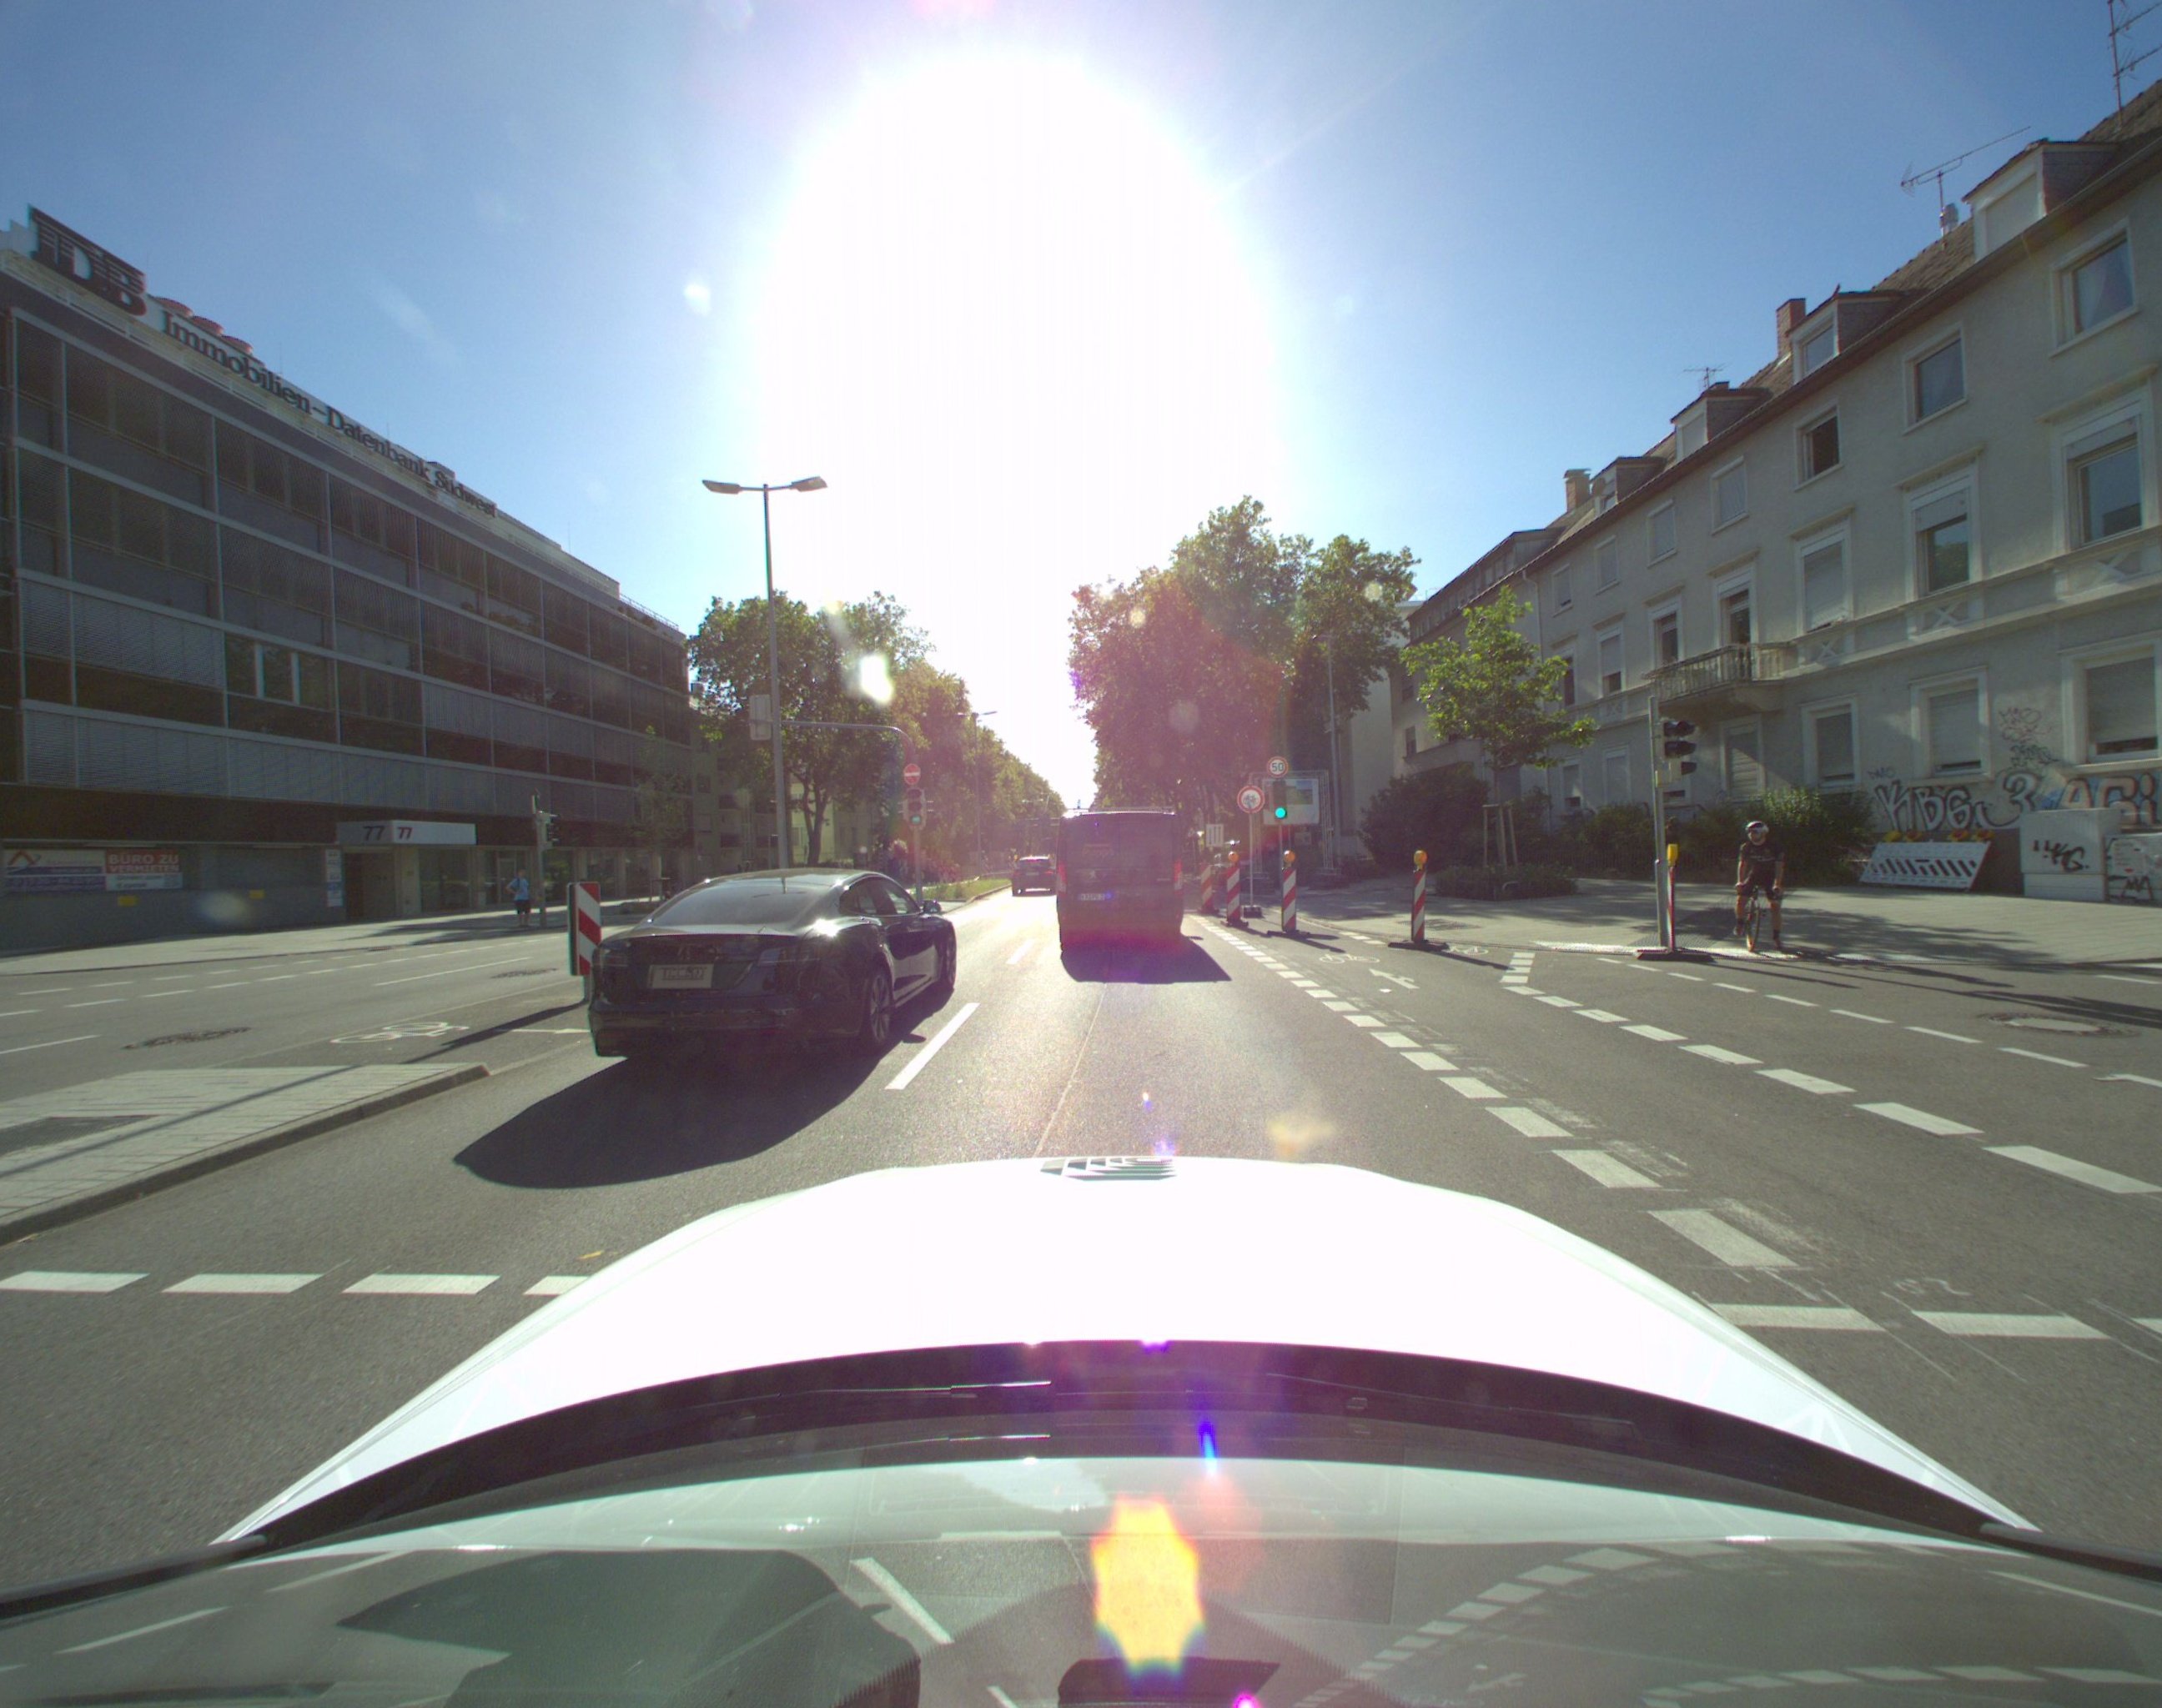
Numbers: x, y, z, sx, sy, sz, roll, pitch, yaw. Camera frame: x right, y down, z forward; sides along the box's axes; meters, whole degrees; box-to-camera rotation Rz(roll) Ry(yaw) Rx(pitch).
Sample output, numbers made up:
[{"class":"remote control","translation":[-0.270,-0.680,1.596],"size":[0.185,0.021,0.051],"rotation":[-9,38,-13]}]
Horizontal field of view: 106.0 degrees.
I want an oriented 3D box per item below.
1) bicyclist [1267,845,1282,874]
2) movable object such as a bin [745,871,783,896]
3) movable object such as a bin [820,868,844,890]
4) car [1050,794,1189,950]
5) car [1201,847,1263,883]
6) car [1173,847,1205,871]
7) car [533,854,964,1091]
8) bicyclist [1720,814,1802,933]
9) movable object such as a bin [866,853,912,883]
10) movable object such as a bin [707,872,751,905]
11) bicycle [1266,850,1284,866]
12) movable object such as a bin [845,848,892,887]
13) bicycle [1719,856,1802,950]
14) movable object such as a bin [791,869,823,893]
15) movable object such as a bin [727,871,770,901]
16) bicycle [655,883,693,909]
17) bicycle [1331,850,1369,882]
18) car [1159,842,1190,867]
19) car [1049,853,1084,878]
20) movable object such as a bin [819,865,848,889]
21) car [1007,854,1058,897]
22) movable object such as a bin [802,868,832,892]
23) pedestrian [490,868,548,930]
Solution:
[{"class":"bicyclist","translation":[12.359,0.343,52.032],"size":[0.721,1.820,1.071],"rotation":[-2,0,2]},{"class":"movable object such as a bin","translation":[-16.398,1.533,42.140],"size":[1.388,1.203,1.243],"rotation":[-2,0,4]},{"class":"movable object such as a bin","translation":[-15.528,1.571,50.823],"size":[0.976,1.271,1.541],"rotation":[-2,0,1]},{"class":"car","translation":[0.620,0.252,14.543],"size":[2.088,2.355,3.933],"rotation":[-2,1,0]},{"class":"car","translation":[6.803,0.465,37.191],"size":[1.846,1.479,4.941],"rotation":[-2,0,0]},{"class":"car","translation":[7.436,0.349,56.417],"size":[1.757,1.508,4.252],"rotation":[-2,0,1]},{"class":"car","translation":[-2.464,0.758,7.520],"size":[1.918,1.412,4.627],"rotation":[-2,0,1]},{"class":"bicyclist","translation":[8.997,0.248,10.809],"size":[0.716,1.499,0.877],"rotation":[-2,0,35]},{"class":"movable object such as a bin","translation":[-15.780,1.082,67.131],"size":[1.985,2.278,5.604],"rotation":[-3,0,4]},{"class":"movable object such as a bin","translation":[-16.444,1.594,38.064],"size":[1.109,1.388,1.857],"rotation":[-2,0,3]},{"class":"bicycle","translation":[12.355,0.221,51.957],"size":[0.779,0.966,1.825],"rotation":[-2,0,3]},{"class":"movable object such as a bin","translation":[-15.833,0.978,60.948],"size":[2.140,2.706,5.351],"rotation":[-2,0,-2]},{"class":"bicycle","translation":[9.034,0.615,10.880],"size":[0.682,1.098,1.698],"rotation":[-2,0,35]},{"class":"movable object such as a bin","translation":[-15.947,1.558,47.405],"size":[1.404,1.338,1.158],"rotation":[-2,0,3]},{"class":"movable object such as a bin","translation":[-16.480,1.558,40.402],"size":[1.209,1.388,1.857],"rotation":[-2,0,3]},{"class":"bicycle","translation":[-17.741,1.814,35.543],"size":[0.624,1.037,1.880],"rotation":[-2,0,3]},{"class":"bicycle","translation":[9.413,0.407,28.438],"size":[0.581,1.005,2.145],"rotation":[-2,0,36]},{"class":"car","translation":[7.755,0.017,68.097],"size":[2.019,1.946,5.274],"rotation":[-2,0,1]},{"class":"car","translation":[-0.834,0.673,50.819],"size":[1.904,1.444,4.604],"rotation":[-2,0,2]},{"class":"movable object such as a bin","translation":[-15.999,1.473,52.652],"size":[1.638,1.423,1.253],"rotation":[-2,0,-25]},{"class":"car","translation":[-1.861,0.810,32.287],"size":[1.741,1.407,4.000],"rotation":[-1,2,0]},{"class":"movable object such as a bin","translation":[-15.729,1.537,48.489],"size":[1.404,1.338,0.936],"rotation":[-2,0,3]},{"class":"pedestrian","translation":[-16.309,1.279,23.659],"size":[0.860,1.710,1.015],"rotation":[-2,0,8]}]
